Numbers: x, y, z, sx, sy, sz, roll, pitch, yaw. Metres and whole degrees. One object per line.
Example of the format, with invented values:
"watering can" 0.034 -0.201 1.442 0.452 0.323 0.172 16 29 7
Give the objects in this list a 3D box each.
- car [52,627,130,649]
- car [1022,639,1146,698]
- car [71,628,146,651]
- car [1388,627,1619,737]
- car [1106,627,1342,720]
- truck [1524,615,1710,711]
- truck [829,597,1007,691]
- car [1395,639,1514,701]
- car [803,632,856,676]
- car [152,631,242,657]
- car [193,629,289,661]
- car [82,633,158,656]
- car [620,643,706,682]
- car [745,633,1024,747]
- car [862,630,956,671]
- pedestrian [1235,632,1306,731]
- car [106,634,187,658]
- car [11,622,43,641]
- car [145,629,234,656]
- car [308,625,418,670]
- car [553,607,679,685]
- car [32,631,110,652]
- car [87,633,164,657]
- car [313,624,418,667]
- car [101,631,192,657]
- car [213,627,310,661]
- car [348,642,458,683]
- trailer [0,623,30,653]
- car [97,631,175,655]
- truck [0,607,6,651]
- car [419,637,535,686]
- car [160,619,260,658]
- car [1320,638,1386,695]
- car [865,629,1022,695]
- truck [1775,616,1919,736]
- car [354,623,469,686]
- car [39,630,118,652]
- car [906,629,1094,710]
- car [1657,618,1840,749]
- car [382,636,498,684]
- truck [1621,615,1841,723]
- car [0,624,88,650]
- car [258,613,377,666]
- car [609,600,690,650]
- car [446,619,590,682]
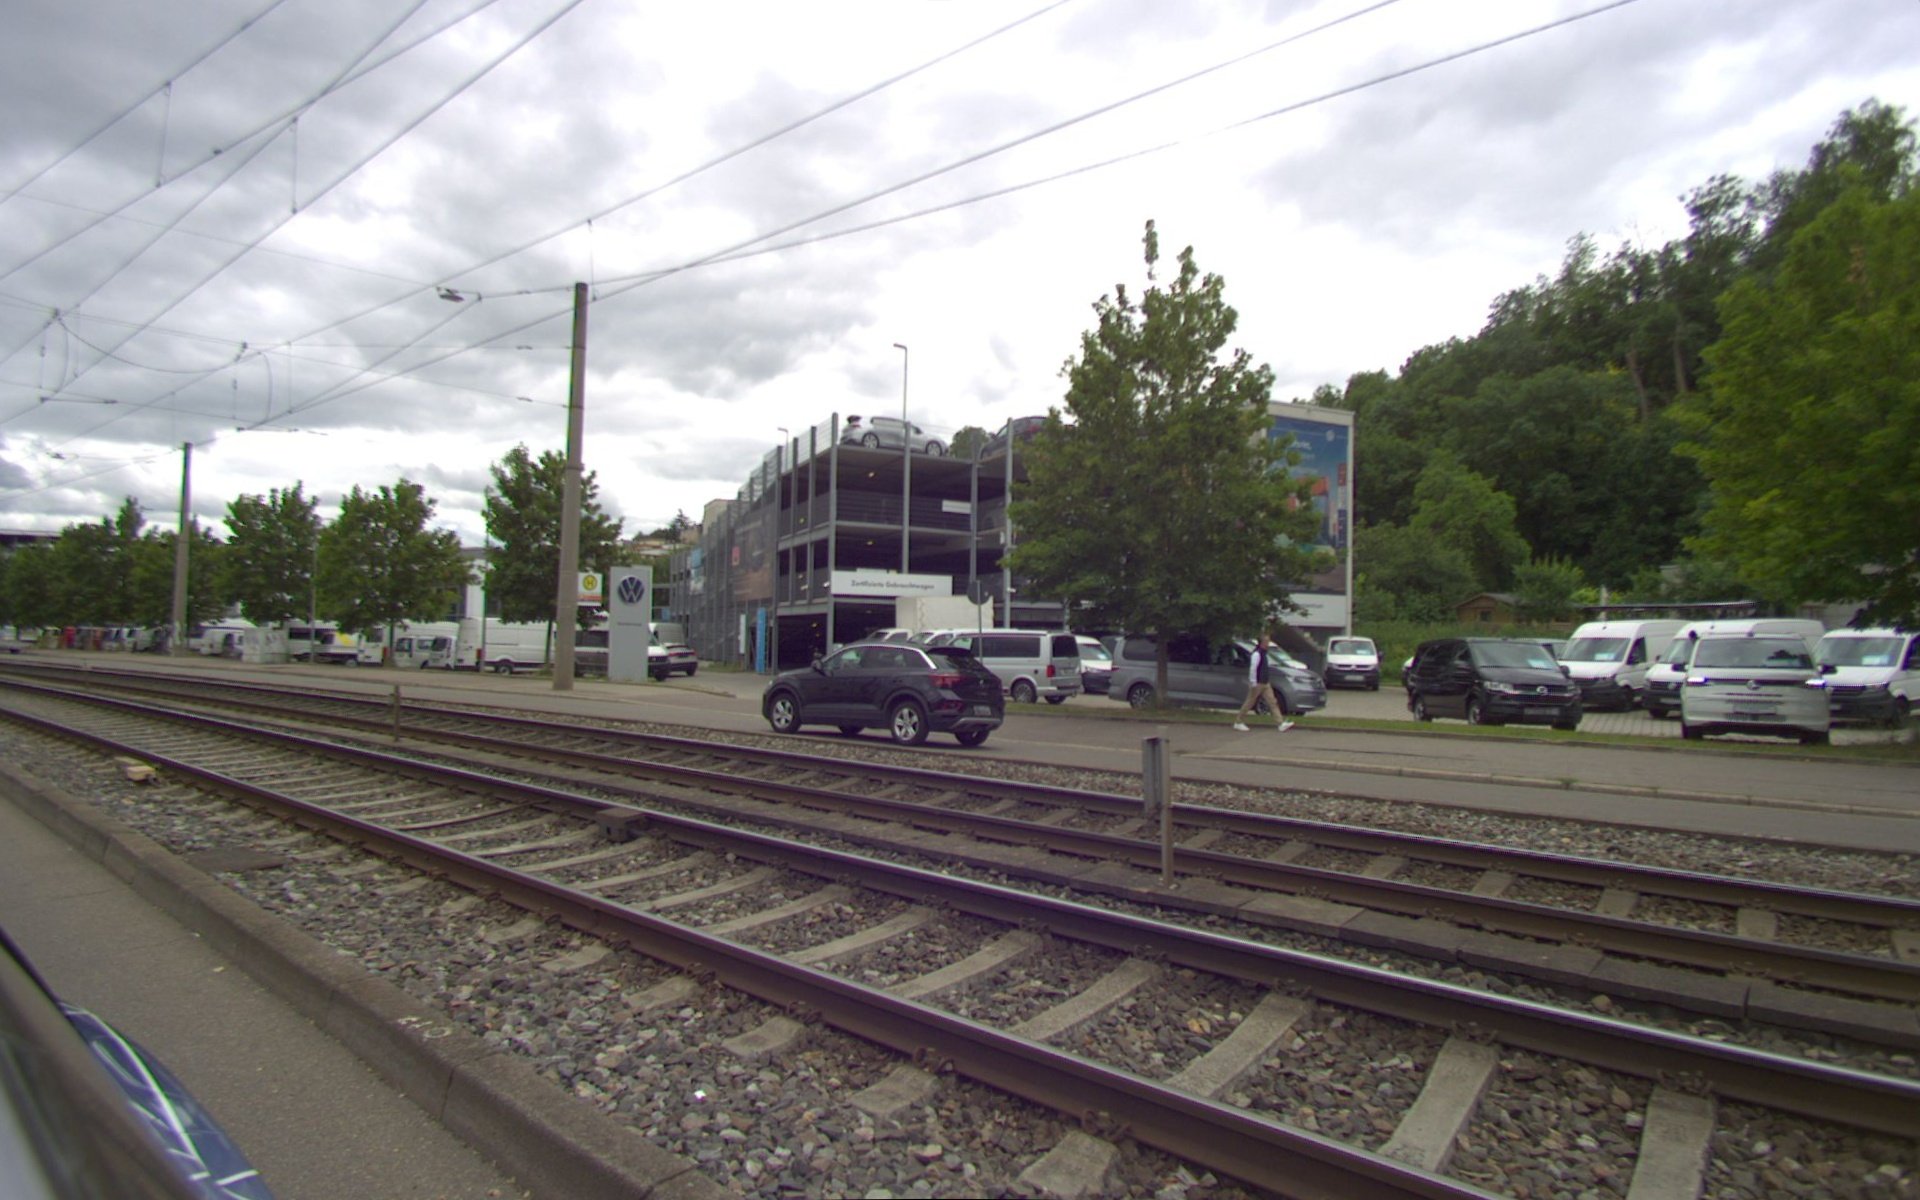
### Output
"car" -66.539 2.921 77.531 2.060 1.630 4.138 -1 -3 38
"car" 4.070 2.254 33.956 1.965 1.845 4.482 2 -3 -27
"car" -64.095 2.985 76.181 2.045 1.677 3.949 -1 -3 38
"car" 11.293 1.664 21.586 2.136 2.029 5.071 1 -3 0
"car" 6.235 1.678 24.213 5.118 2.029 1.976 -1 -4 35
"truck" 19.363 1.844 29.828 4.985 2.608 2.476 2 -3 -28
"truck" -1.446 1.594 35.676 5.835 3.108 2.126 2 -3 -24
"car" 17.298 2.424 35.343 4.196 2.029 1.985 3 -4 -36
"car" -5.971 2.494 46.749 1.971 1.918 4.000 1 -3 -1
"car" -49.868 2.888 66.224 2.001 1.630 4.324 -1 -3 37
"car" -43.819 2.745 61.732 2.001 1.859 4.324 -1 -3 37
"car" -62.015 3.327 74.762 1.997 1.630 3.949 -1 -3 38
"car" -13.377 2.772 45.505 1.970 1.630 4.138 4 -4 -44
"car" -1.255 1.351 15.775 4.249 1.543 1.671 -1 -6 37
"car" -2.579 2.513 50.740 4.452 1.918 1.977 -1 -3 34
"pedestrian" 5.450 1.410 17.770 1.038 1.668 0.713 -1 -1 30
"car" -56.062 3.186 69.770 1.997 1.630 3.949 -1 -3 38
"car" -106.435 3.586 115.514 1.966 2.029 4.011 3 -3 -33
"car" -51.608 2.855 67.855 2.001 1.699 4.324 -1 -3 37
"car" -30.214 2.404 51.318 1.998 2.189 4.331 -1 -3 33
"car" -14.453 1.910 42.295 5.930 3.042 2.087 -1 -4 39
"car" -71.121 3.340 80.997 2.151 1.630 4.295 -1 -3 38
"car" -60.455 3.281 73.336 1.997 1.630 3.949 -1 -3 38
"car" -31.557 2.446 53.854 1.998 2.189 4.331 -1 -3 33
"car" -54.485 2.958 67.844 1.999 1.630 4.327 -1 -3 35
"car" -41.748 2.653 60.540 2.001 1.962 4.324 -1 -3 37
"car" -27.718 3.076 50.483 1.998 1.925 4.331 -1 -3 33
"trailer" -58.930 2.247 61.217 6.930 1.711 2.362 -1 -5 35
"car" -58.469 3.054 71.869 1.997 1.630 3.949 -1 -3 38
"truck" -65.434 1.795 65.870 9.194 2.763 2.733 -1 -5 34
"car" -21.794 2.763 45.820 1.998 2.121 4.331 -1 -3 33
"car" -46.178 2.411 62.389 2.122 2.329 4.454 -1 -3 37
"car" 14.879 2.489 38.542 1.983 2.029 4.253 -1 -3 17
"car" -0.513 2.011 32.813 4.649 2.029 2.006 2 -3 -26
"truck" 22.299 1.783 24.289 4.985 2.608 2.476 2 -3 -28
"car" -26.115 2.586 48.336 1.998 2.841 4.331 -1 -3 33
"car" -69.093 3.203 79.361 2.117 1.630 4.303 -1 -3 38
"car" 1.043 1.855 27.939 4.907 2.029 1.976 -1 -3 35
"car" 13.585 1.331 17.303 2.165 1.902 5.002 -2 -3 41
"car" -24.086 2.772 46.996 1.998 2.121 4.331 -1 -3 33
"truck" 20.488 1.816 26.871 5.678 2.608 2.476 2 -3 -28
"car" -76.118 3.067 83.835 5.620 2.023 2.149 3 -4 -36
"car" -34.568 2.177 54.620 2.109 2.719 4.926 -1 -3 33
"car" -17.060 1.435 55.901 1.980 2.622 5.939 0 -3 7
"car" -19.379 2.224 44.628 2.242 2.622 5.422 -1 -3 36
